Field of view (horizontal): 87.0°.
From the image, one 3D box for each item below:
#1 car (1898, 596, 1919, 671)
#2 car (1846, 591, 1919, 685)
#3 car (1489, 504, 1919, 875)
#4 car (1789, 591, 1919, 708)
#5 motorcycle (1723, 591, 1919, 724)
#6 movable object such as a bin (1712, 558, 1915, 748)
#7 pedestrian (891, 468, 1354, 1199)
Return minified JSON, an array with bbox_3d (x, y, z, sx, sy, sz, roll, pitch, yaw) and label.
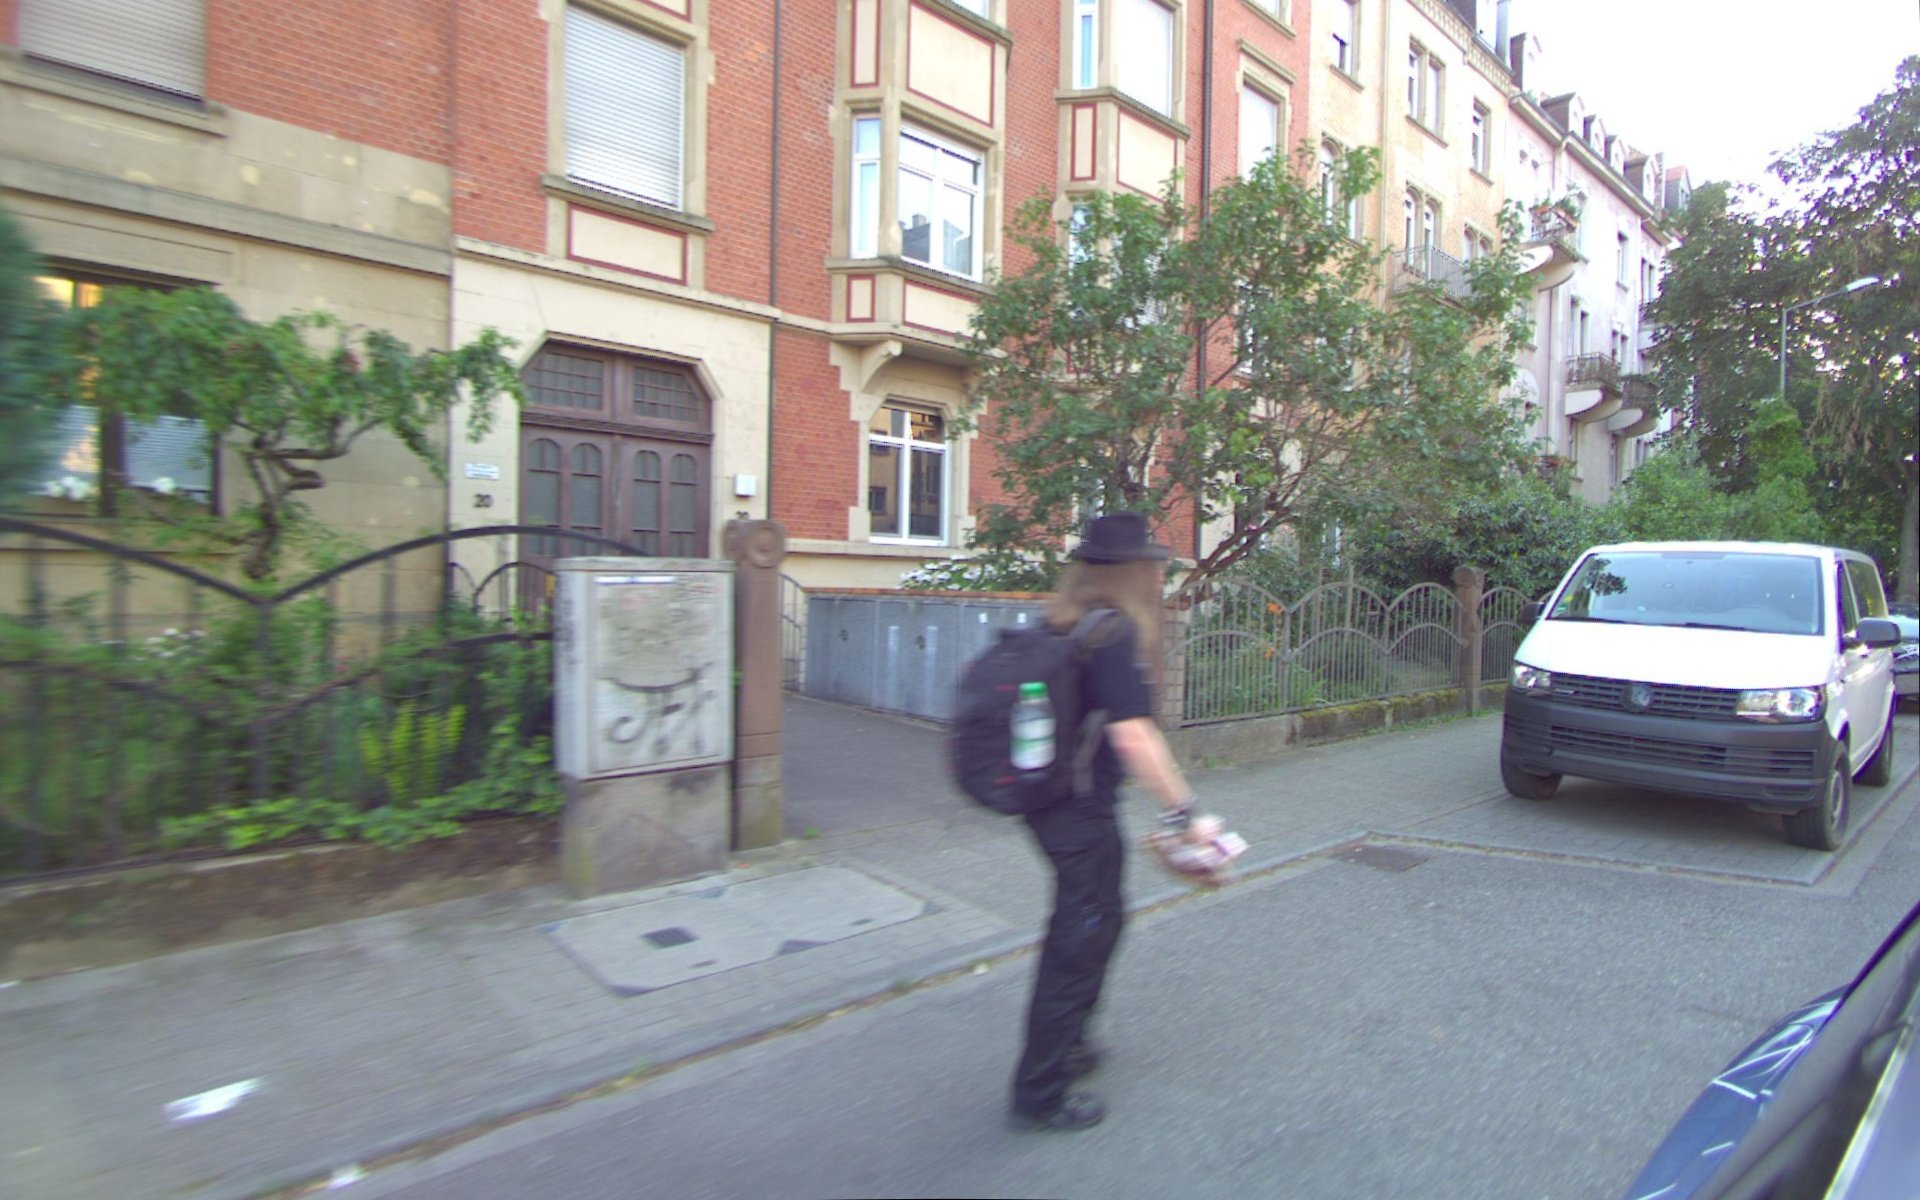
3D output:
[{"bbox_3d":[21.552,0.680,21.743,3.538,1.544,1.589,0,0,-40],"label":"car"},{"bbox_3d":[18.187,0.638,18.879,4.755,1.602,1.760,0,0,-40],"label":"car"},{"bbox_3d":[6.322,0.430,8.162,5.451,2.063,1.864,0,3,-43],"label":"car"},{"bbox_3d":[14.301,0.660,15.481,4.248,1.570,1.724,0,1,-40],"label":"car"},{"bbox_3d":[11.247,0.699,12.899,2.065,1.500,1.128,3,2,16],"label":"motorcycle"},{"bbox_3d":[9.826,0.513,11.628,2.285,1.900,1.414,0,3,-42],"label":"movable object such as a bin"},{"bbox_3d":[0.402,0.577,2.825,0.939,1.744,0.893,0,0,-23],"label":"pedestrian"}]
